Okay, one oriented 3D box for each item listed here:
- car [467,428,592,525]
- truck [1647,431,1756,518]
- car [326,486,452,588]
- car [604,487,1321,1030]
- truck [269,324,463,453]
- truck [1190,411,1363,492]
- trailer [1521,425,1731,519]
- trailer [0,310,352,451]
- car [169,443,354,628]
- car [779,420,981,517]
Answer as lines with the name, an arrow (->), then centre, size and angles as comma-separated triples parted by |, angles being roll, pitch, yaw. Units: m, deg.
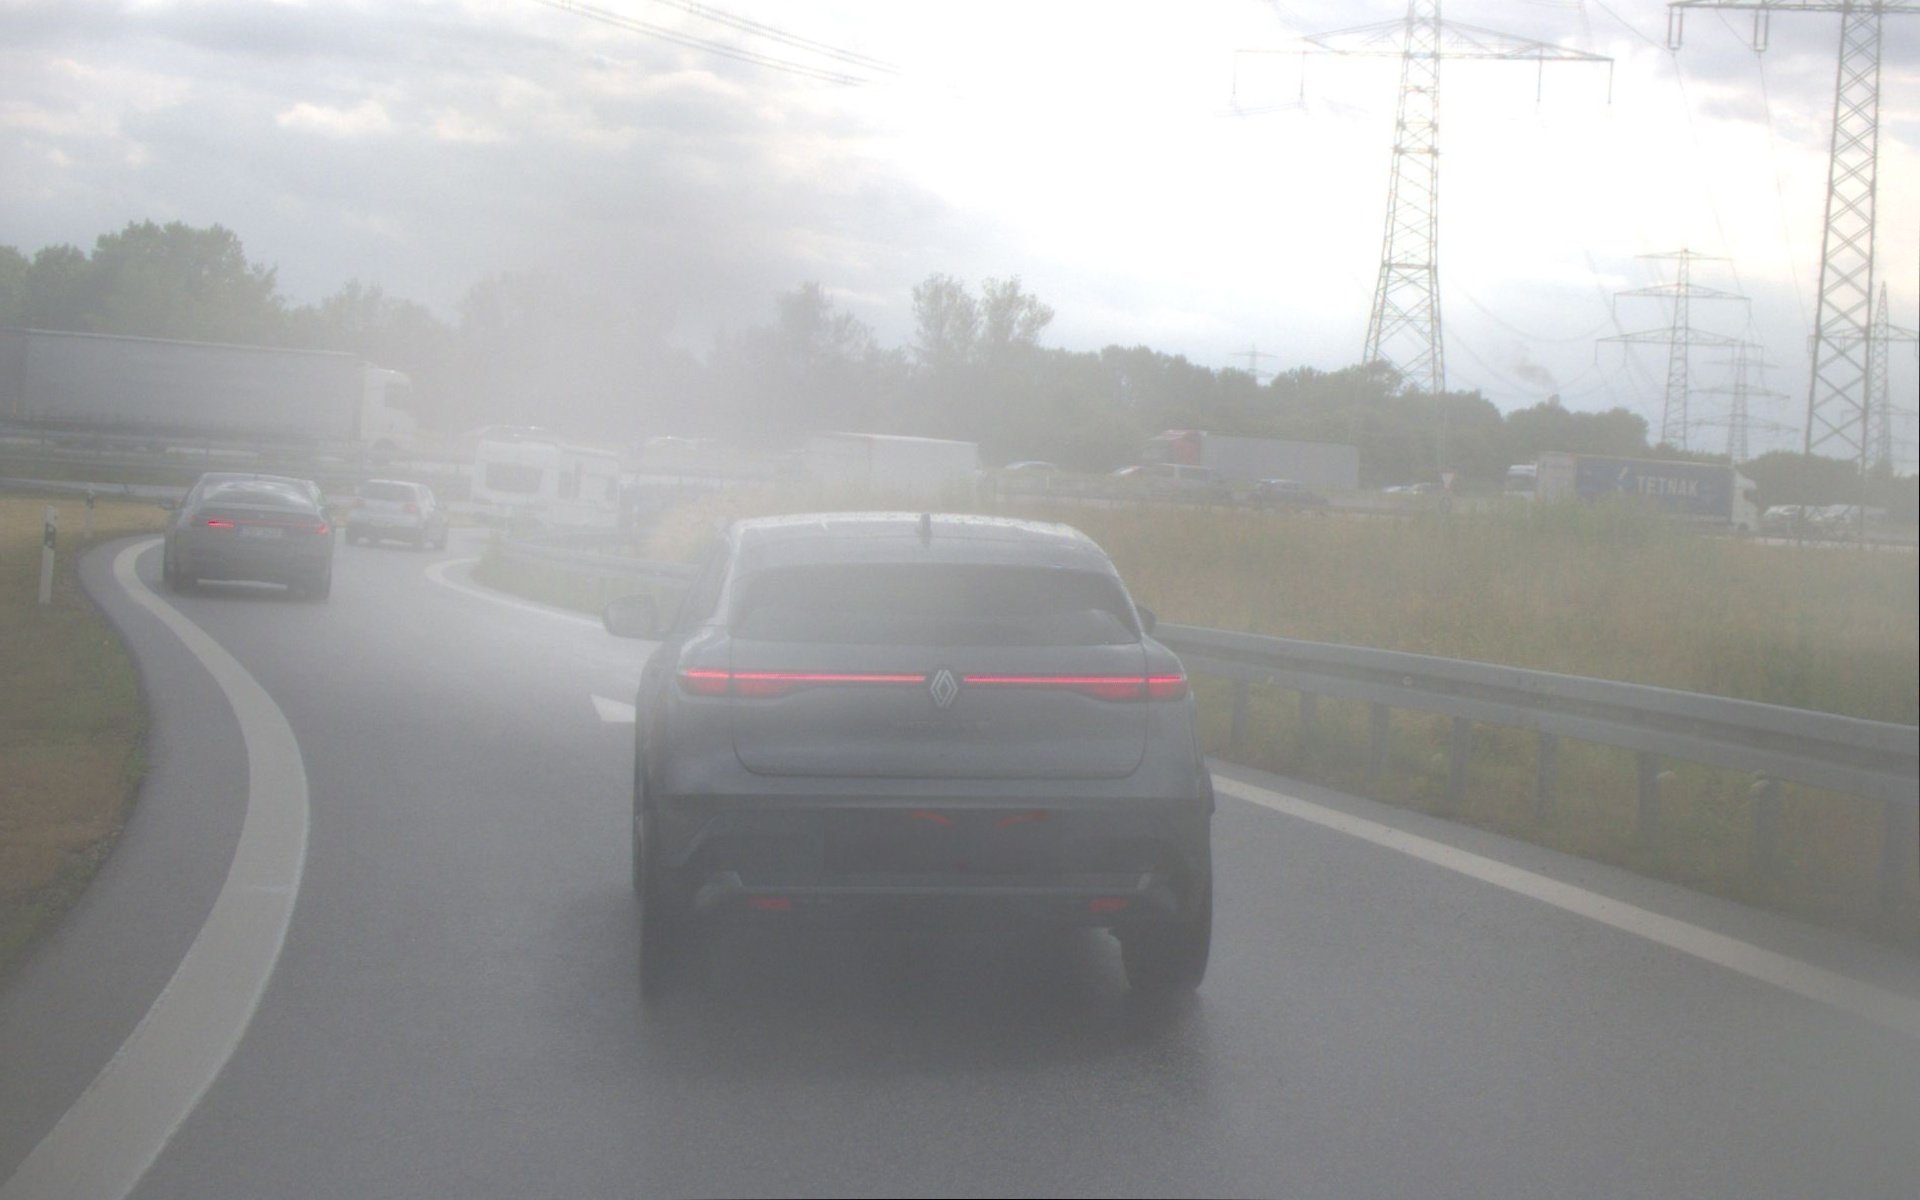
car -> -11.339, -3.295, 90.911 | 2.351, 2.298, 5.129 | 3, 4, 3
truck -> 40.187, -6.787, 186.224 | 5.058, 4.463, 3.078 | 0, 5, -41
car -> -12.780, -1.447, 77.155 | 1.993, 2.006, 4.001 | 3, 4, 1
car -> -0.195, 0.400, 12.252 | 1.993, 1.561, 4.150 | 0, 2, -8
truck -> -22.526, -8.007, 130.439 | 6.250, 4.549, 3.350 | 0, 5, -40
truck -> 19.014, -8.840, 205.694 | 12.461, 4.109, 1.999 | 2, 2, -41
trailer -> 35.390, -6.728, 182.128 | 13.263, 4.619, 3.057 | 0, 5, -40
trailer -> -28.937, -7.943, 125.085 | 13.353, 4.600, 3.483 | 0, 5, -40
car -> -8.945, -0.892, 44.026 | 2.120, 2.011, 5.537 | 2, 4, -12
car -> -2.576, -4.359, 113.820 | 3.142, 2.941, 7.196 | 5, 4, 32
